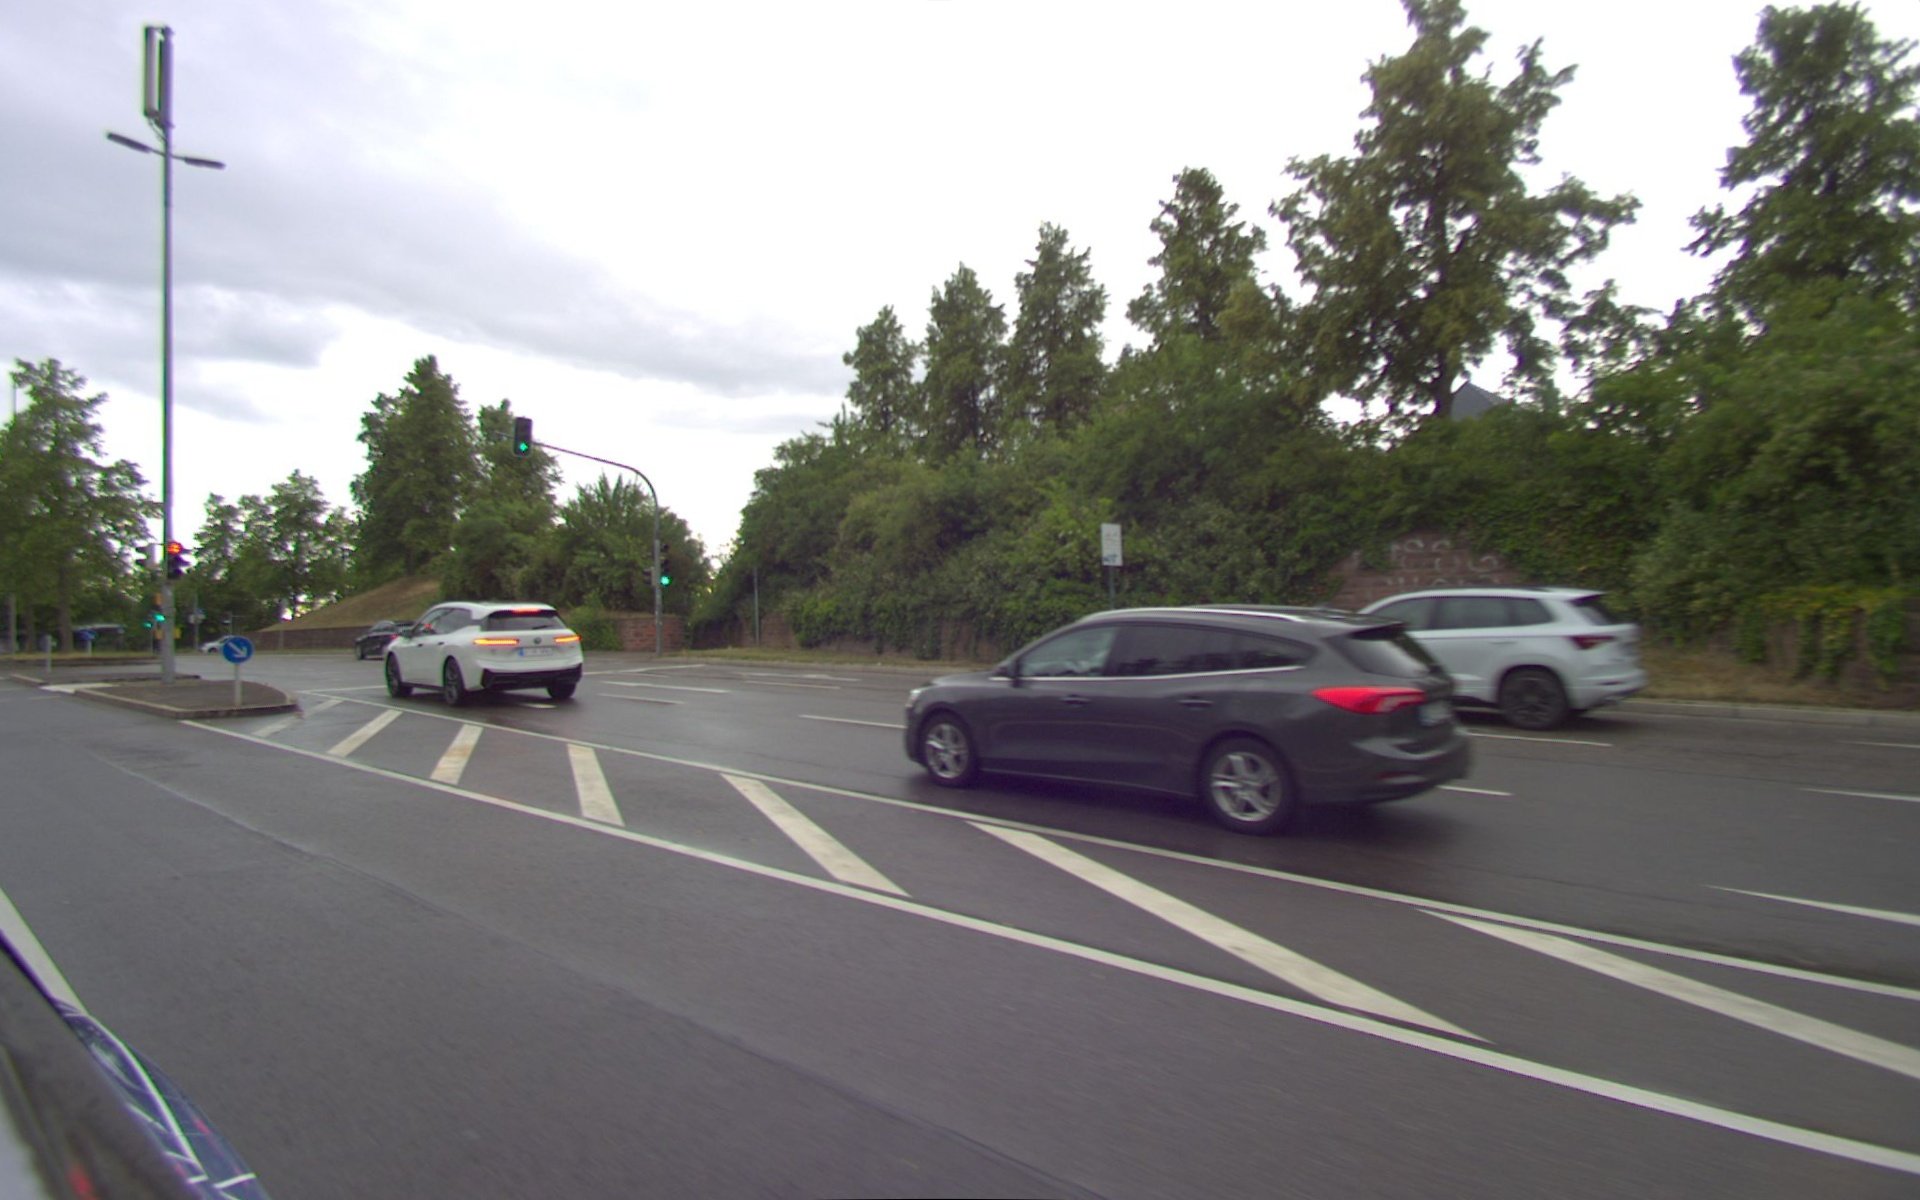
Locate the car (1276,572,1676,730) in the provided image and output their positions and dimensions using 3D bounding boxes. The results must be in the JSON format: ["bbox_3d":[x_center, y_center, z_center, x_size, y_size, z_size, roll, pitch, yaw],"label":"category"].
[{"bbox_3d":[6.107,0.542,12.277,4.000,1.603,1.705,-1,-1,43],"label":"car"}]

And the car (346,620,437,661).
[{"bbox_3d":[-21.769,1.522,38.680,4.455,1.448,1.799,-2,-1,44],"label":"car"}]

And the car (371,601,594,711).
[{"bbox_3d":[-8.489,0.887,17.739,5.007,1.648,1.923,-1,-1,44],"label":"car"}]

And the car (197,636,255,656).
[{"bbox_3d":[-59.092,3.673,81.468,3.640,1.489,1.764,0,-2,-41],"label":"car"}]

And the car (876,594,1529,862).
[{"bbox_3d":[1.585,0.744,7.840,4.644,1.483,1.759,-1,-1,42],"label":"car"}]
